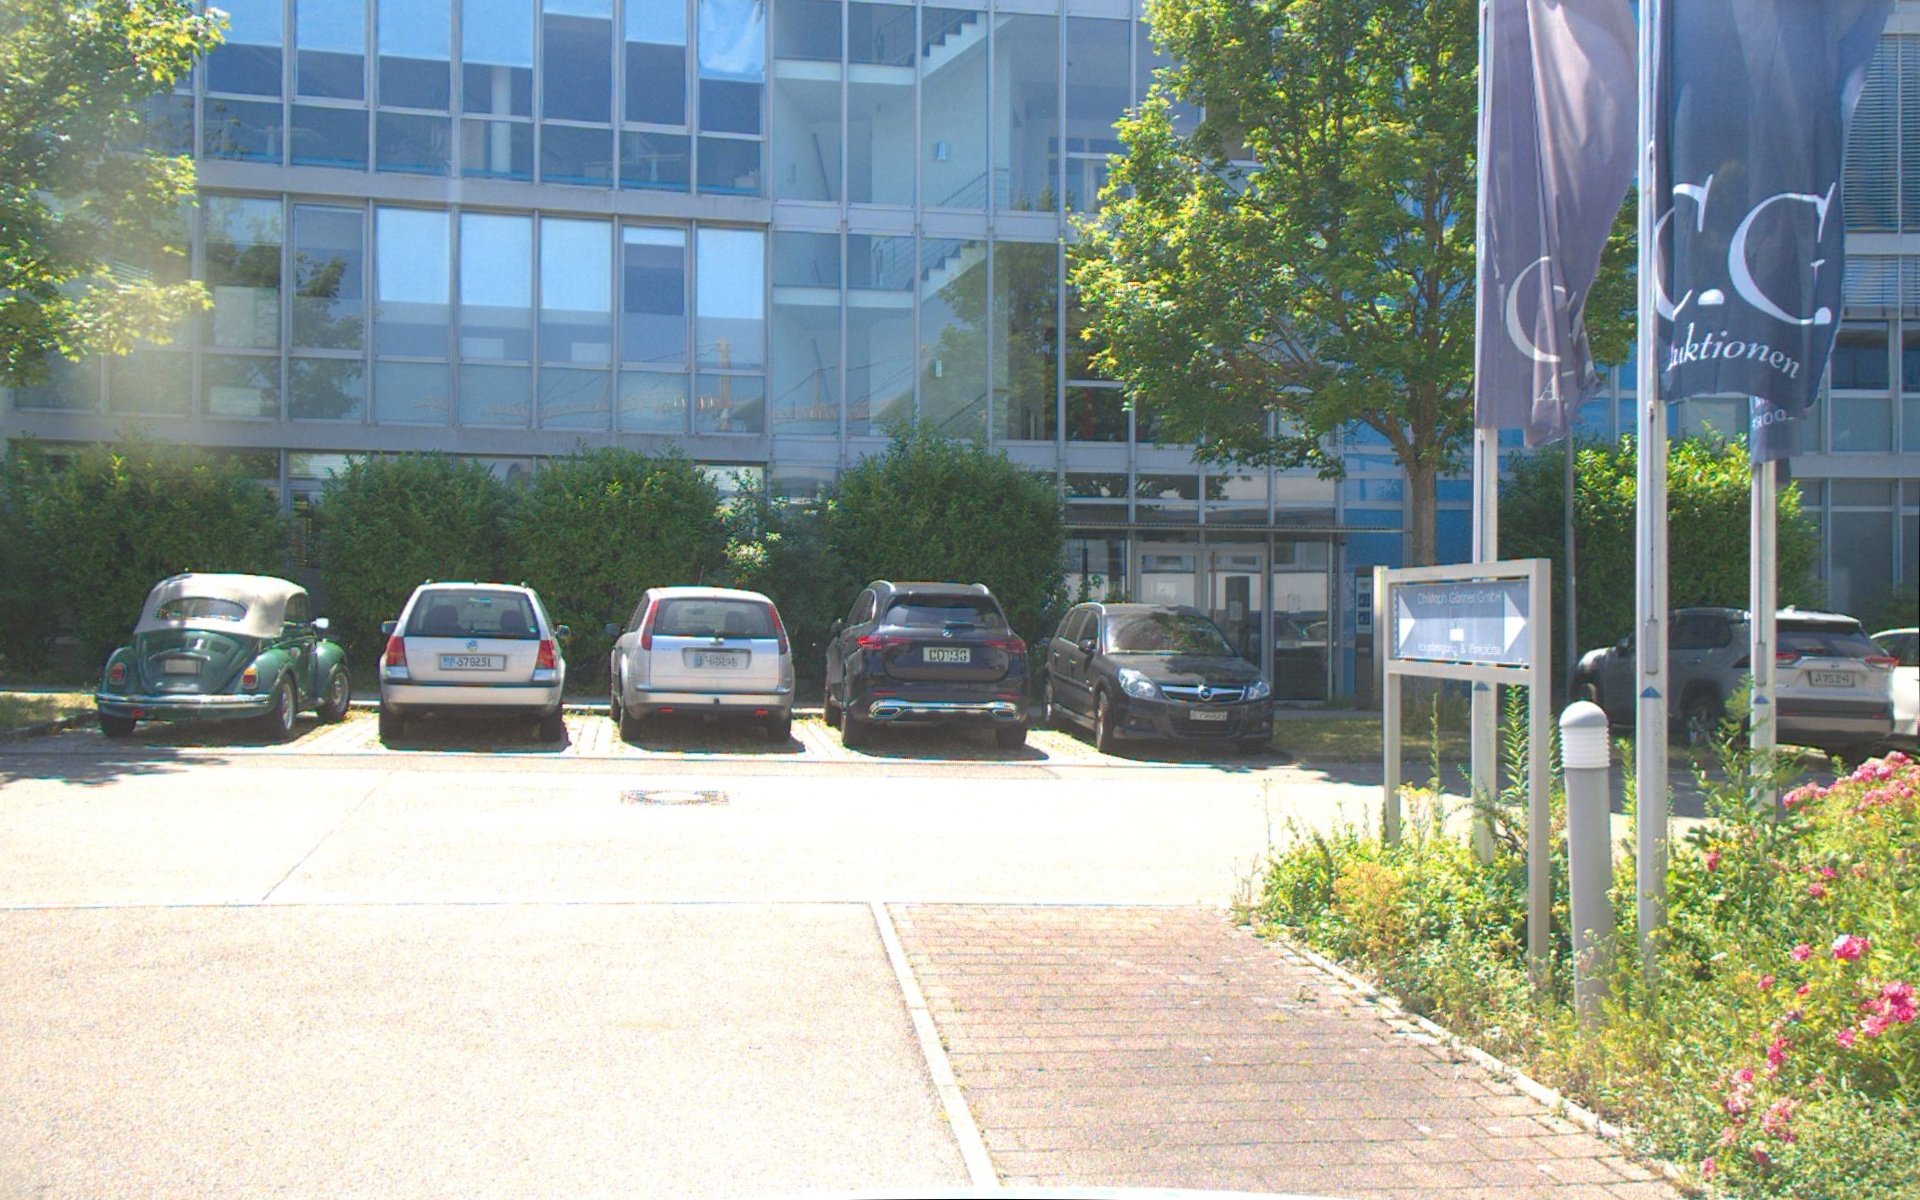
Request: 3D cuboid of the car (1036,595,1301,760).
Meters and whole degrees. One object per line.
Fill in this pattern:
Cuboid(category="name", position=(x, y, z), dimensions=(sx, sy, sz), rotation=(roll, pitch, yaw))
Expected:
Cuboid(category="car", position=(2.098, 0.740, 17.880), dimensions=(1.737, 1.507, 4.250), rotation=(1, 1, -9))

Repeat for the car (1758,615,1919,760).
Cuboid(category="car", position=(11.246, 1.010, 18.843), dimensions=(1.704, 1.517, 4.331), rotation=(2, 1, -9))

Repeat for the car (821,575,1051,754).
Cuboid(category="car", position=(-0.381, 0.591, 17.641), dimensions=(1.891, 1.639, 3.979), rotation=(2, 1, -9))

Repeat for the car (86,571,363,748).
Cuboid(category="car", position=(-6.926, 0.487, 15.942), dimensions=(1.513, 1.474, 3.646), rotation=(2, 1, -9))

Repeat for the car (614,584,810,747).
Cuboid(category="car", position=(-2.713, 0.615, 17.470), dimensions=(1.735, 1.474, 3.642), rotation=(2, 1, -13))

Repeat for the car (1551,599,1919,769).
Cuboid(category="car", position=(8.715, 0.862, 19.003), dimensions=(1.786, 1.648, 4.331), rotation=(1, 1, -9))

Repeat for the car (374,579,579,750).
Cuboid(category="car", position=(-4.711, 0.562, 16.544), dimensions=(1.702, 1.474, 3.642), rotation=(2, 1, -13))
